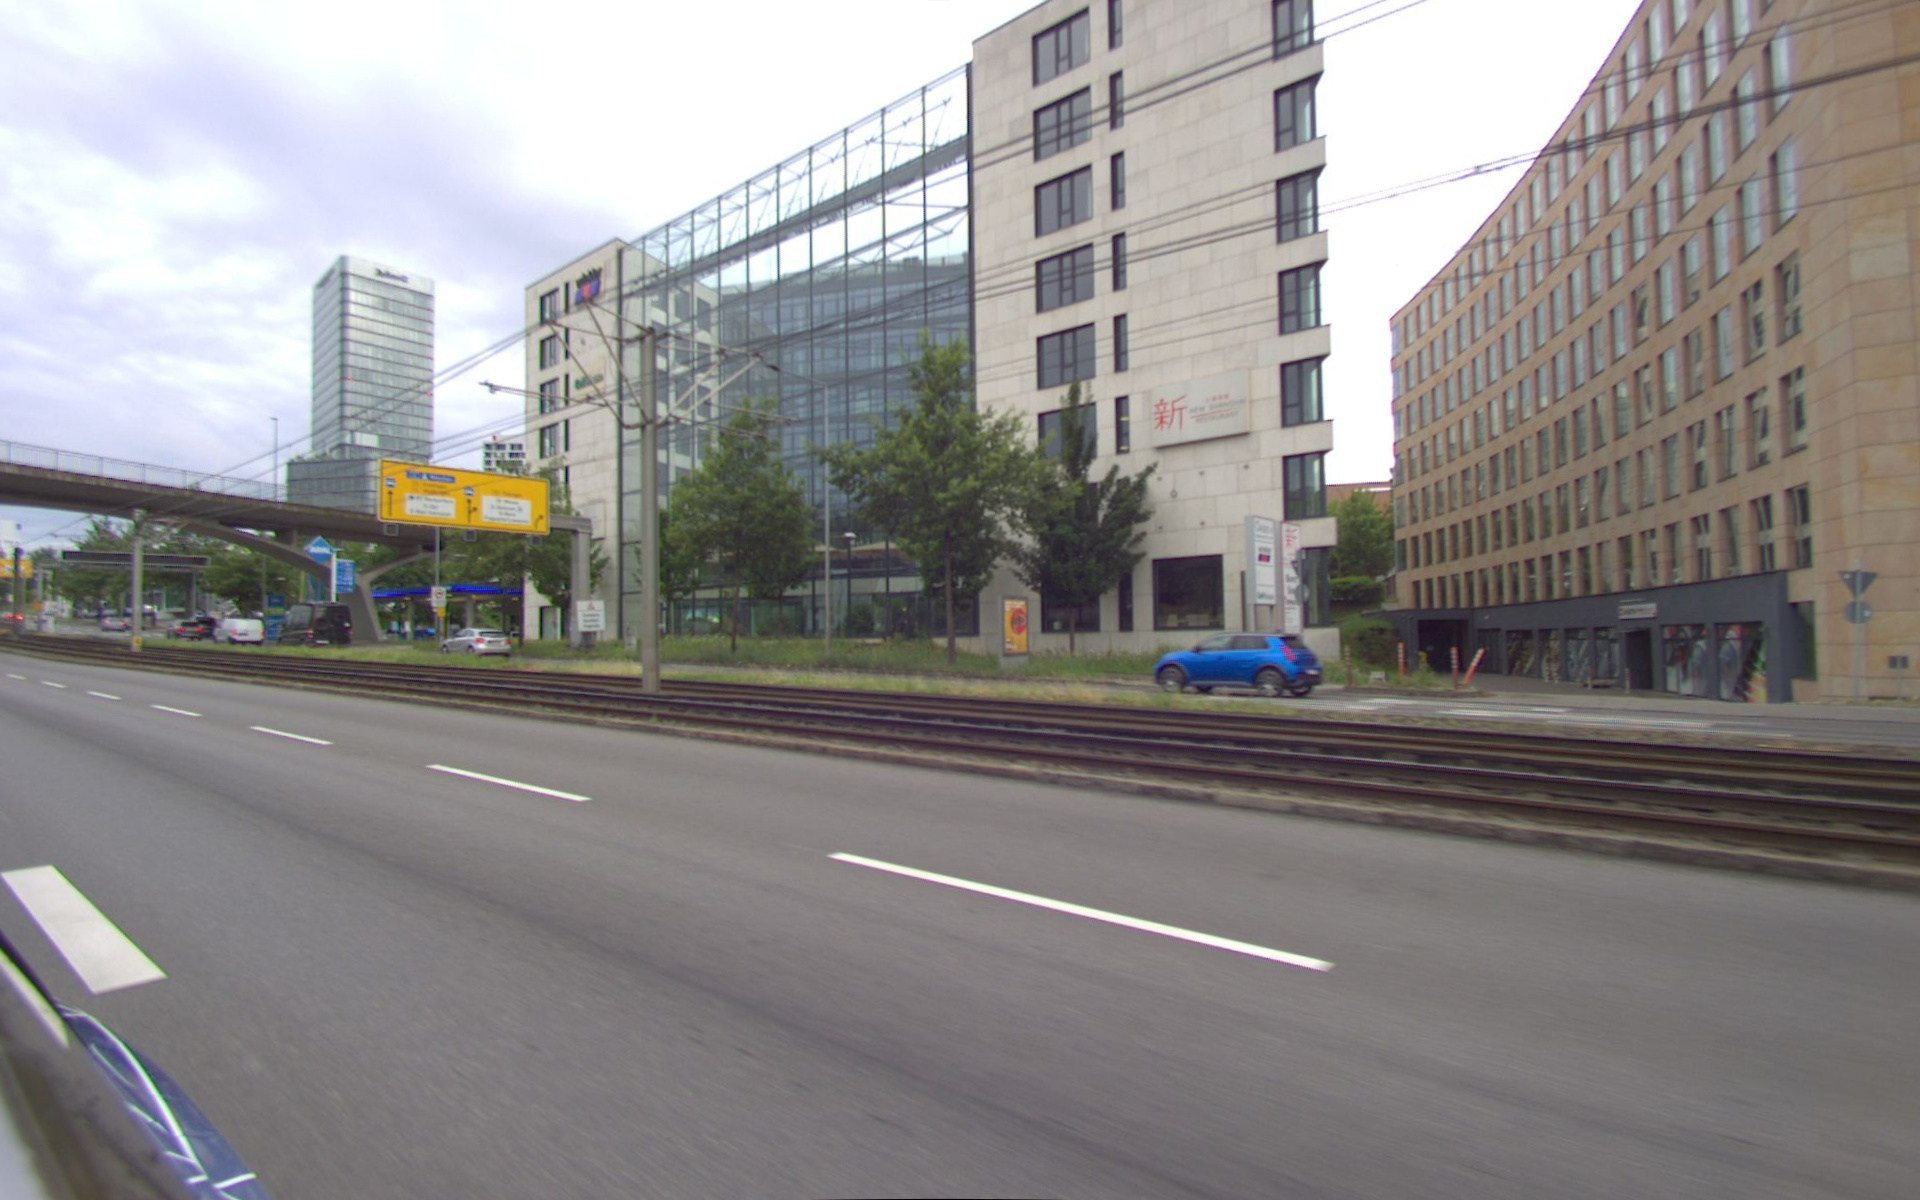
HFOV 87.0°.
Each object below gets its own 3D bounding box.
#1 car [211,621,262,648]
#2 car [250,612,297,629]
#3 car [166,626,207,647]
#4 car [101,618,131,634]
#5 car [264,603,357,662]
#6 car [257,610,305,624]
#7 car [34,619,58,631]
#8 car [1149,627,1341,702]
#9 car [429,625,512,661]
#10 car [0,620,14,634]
[{"bbox_3d":[-49.969,2.372,69.868,5.062,1.775,1.916,-1,-1,43],"label":"car"},{"bbox_3d":[-78.707,2.300,116.101,1.885,1.785,4.141,1,1,43],"label":"car"},{"bbox_3d":[-62.932,2.935,82.283,4.489,1.618,1.791,-1,0,41],"label":"car"},{"bbox_3d":[-87.219,2.716,104.528,4.274,1.545,1.790,-1,0,42],"label":"car"},{"bbox_3d":[-33.313,1.613,51.865,5.605,2.839,2.360,-1,0,39],"label":"car"},{"bbox_3d":[-77.153,1.933,115.035,1.885,1.515,4.305,1,1,43],"label":"car"},{"bbox_3d":[-124.813,3.412,138.225,4.655,1.509,1.900,-1,-4,42],"label":"car"},{"bbox_3d":[6.744,1.464,24.168,4.023,1.465,1.821,1,1,42],"label":"car"},{"bbox_3d":[-22.927,1.964,47.341,4.814,1.545,1.741,-1,0,41],"label":"car"},{"bbox_3d":[-108.409,3.068,114.159,4.863,1.545,1.792,-1,0,38],"label":"car"}]
